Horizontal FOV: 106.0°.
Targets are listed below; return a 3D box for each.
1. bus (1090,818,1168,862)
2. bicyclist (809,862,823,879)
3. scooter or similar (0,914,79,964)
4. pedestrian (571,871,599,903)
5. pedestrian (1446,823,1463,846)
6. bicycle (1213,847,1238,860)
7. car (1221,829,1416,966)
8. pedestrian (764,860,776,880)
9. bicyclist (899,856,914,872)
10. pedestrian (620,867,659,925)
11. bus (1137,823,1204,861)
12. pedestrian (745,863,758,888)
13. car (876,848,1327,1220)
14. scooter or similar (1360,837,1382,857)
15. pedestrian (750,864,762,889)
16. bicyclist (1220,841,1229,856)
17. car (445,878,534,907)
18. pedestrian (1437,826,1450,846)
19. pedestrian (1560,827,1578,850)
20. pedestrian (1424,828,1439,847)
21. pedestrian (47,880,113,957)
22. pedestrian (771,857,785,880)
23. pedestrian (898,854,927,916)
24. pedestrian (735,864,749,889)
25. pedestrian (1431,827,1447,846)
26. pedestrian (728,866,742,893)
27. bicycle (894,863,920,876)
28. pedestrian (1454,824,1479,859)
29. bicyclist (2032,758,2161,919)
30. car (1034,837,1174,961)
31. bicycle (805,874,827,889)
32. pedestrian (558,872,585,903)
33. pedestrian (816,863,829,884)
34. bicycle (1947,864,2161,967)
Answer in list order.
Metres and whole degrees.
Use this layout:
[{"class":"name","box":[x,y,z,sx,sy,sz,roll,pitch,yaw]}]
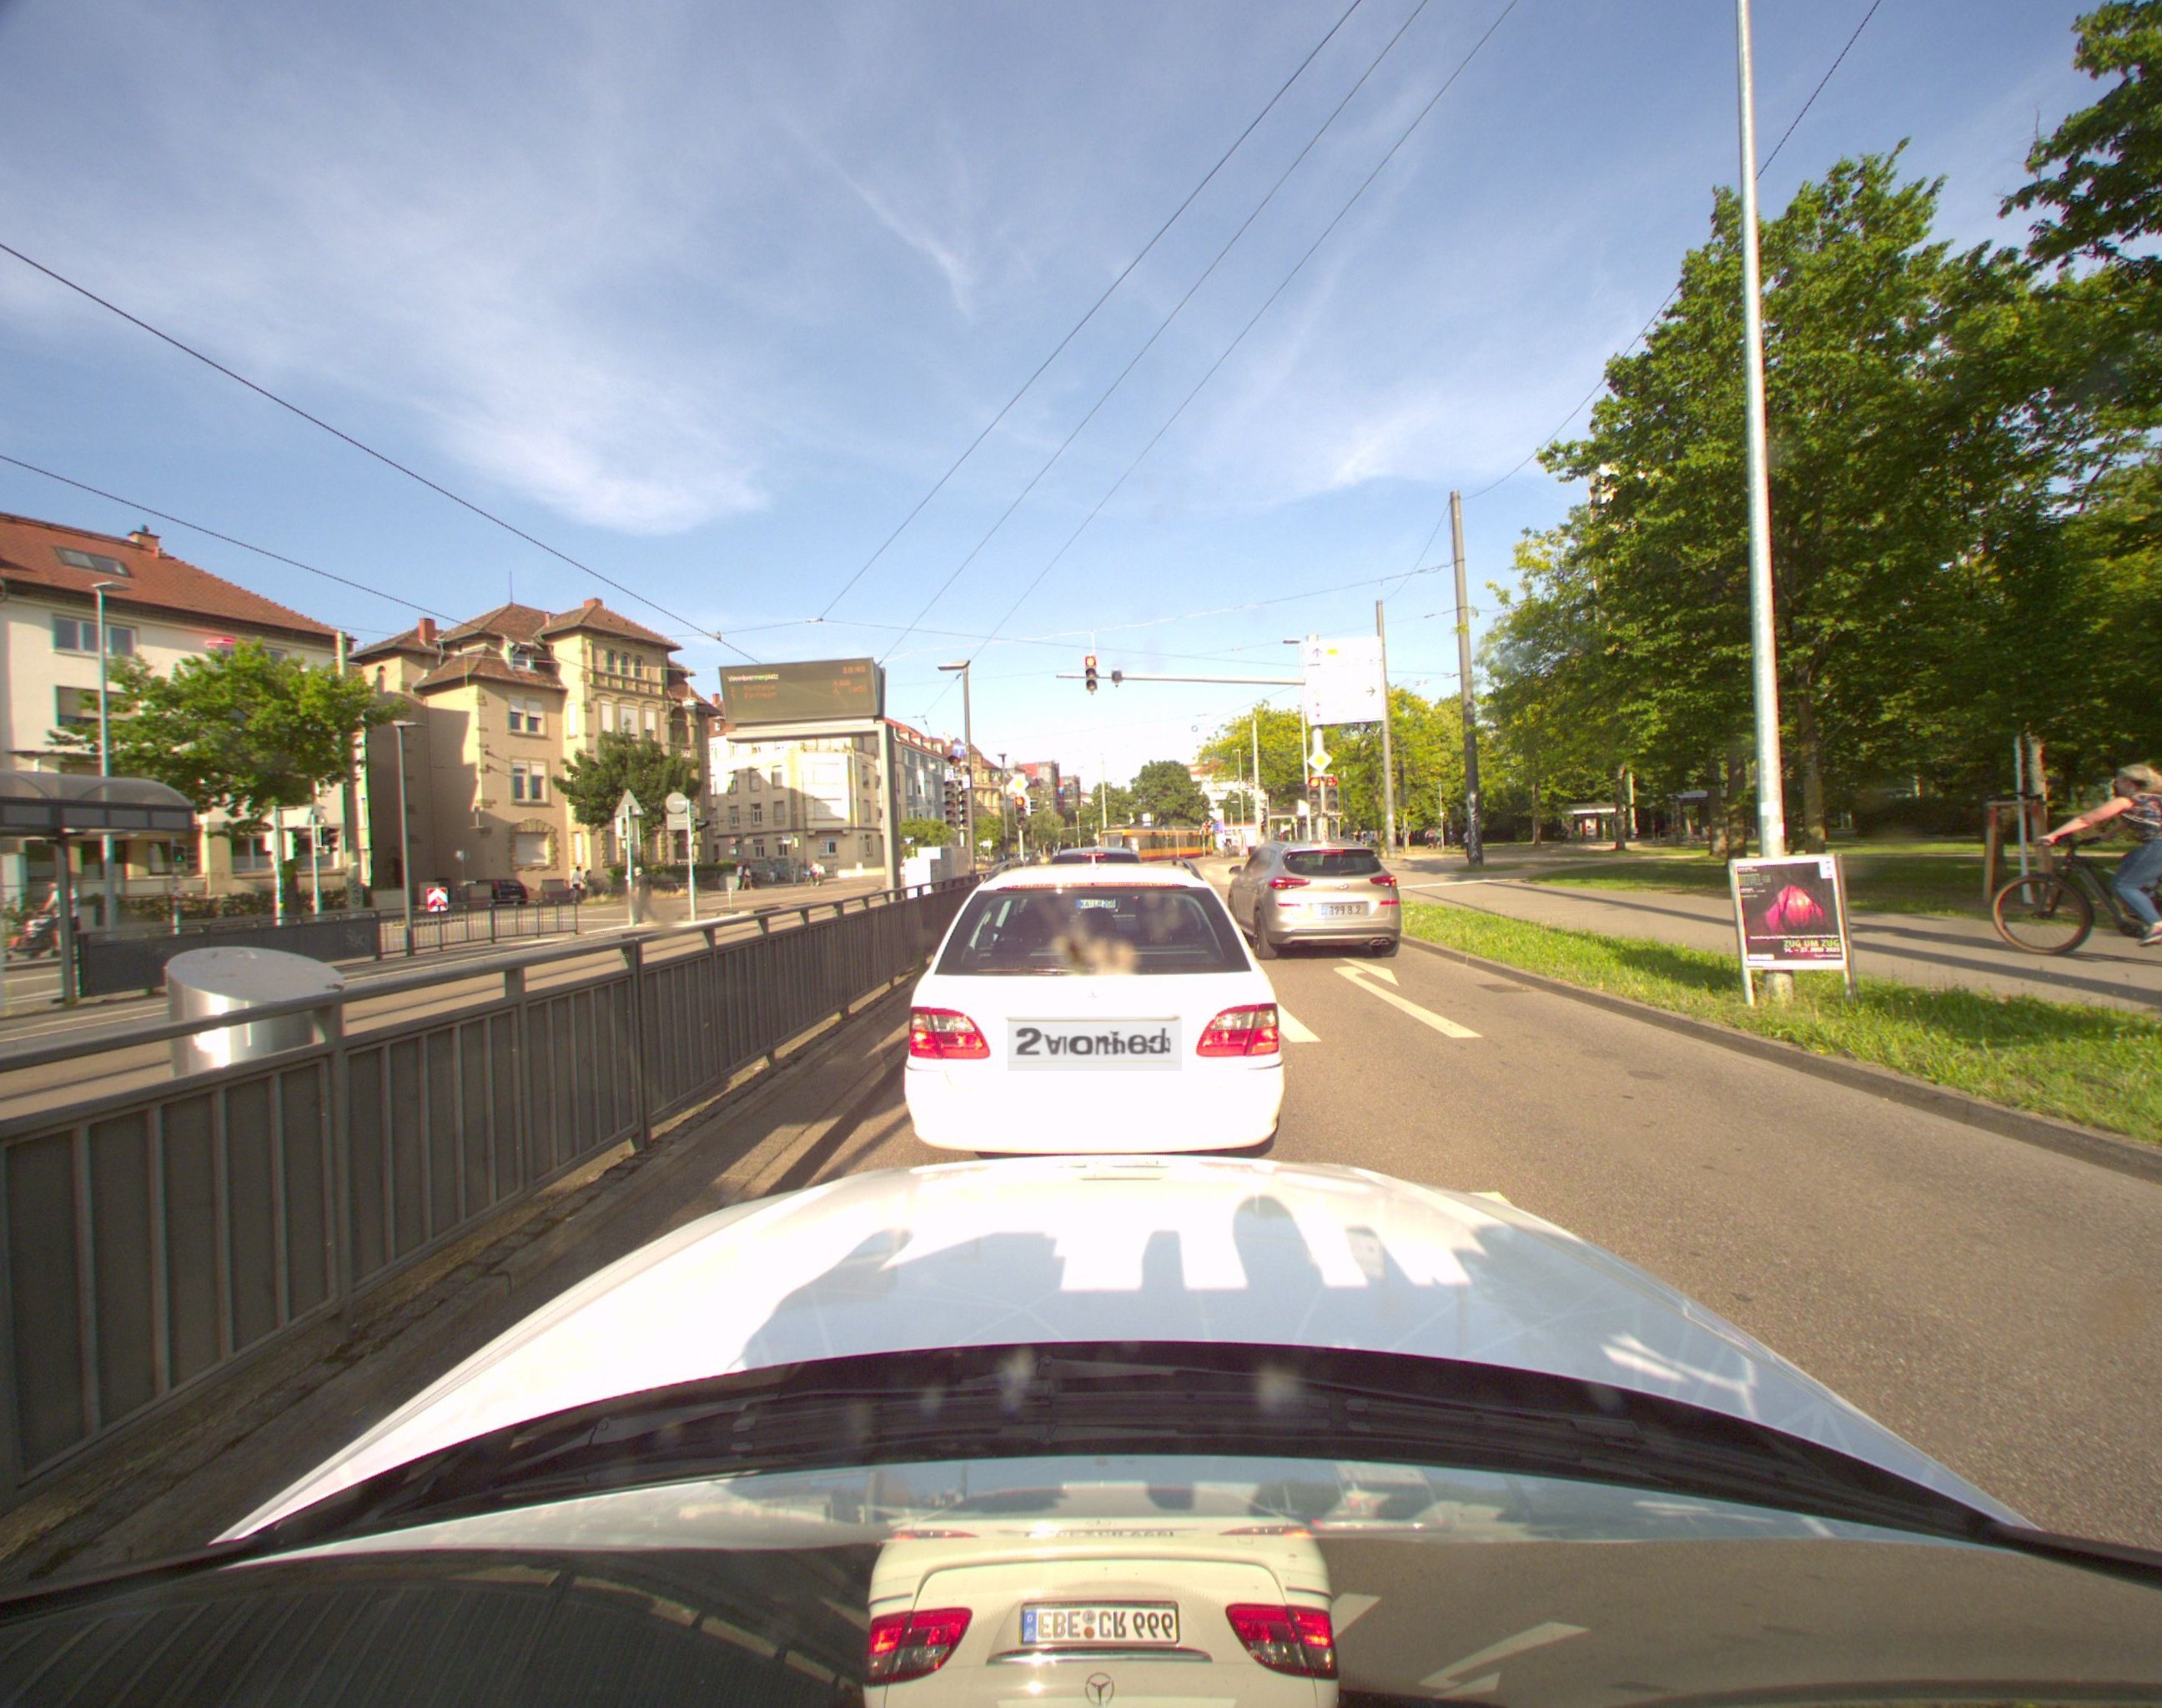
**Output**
[{"class":"bus","box":[4.530,-1.108,72.937,3.081,3.606,12.441,-1,0,22]},{"class":"bicyclist","box":[-16.593,1.036,50.915,0.509,1.044,0.681,-3,0,11]},{"class":"scooter or similar","box":[-23.491,1.893,18.359,0.556,0.988,1.020,-3,0,-7]},{"class":"pedestrian","box":[-24.986,1.639,41.013,0.822,1.552,0.786,-3,0,23]},{"class":"pedestrian","box":[29.114,-1.524,63.495,0.797,1.785,0.838,-3,0,-2]},{"class":"bicycle","box":[14.869,-0.031,83.936,2.467,1.213,0.809,-3,0,9]},{"class":"car","box":[3.331,0.551,12.174,1.878,1.651,3.649,-3,0,2]},{"class":"pedestrian","box":[-27.624,1.413,72.332,0.615,1.660,0.589,-3,0,17]},{"class":"bicyclist","box":[-14.315,0.827,66.818,0.757,1.262,1.179,-3,0,15]},{"class":"pedestrian","box":[-13.273,1.254,24.484,0.798,1.645,0.748,-3,0,-42]},{"class":"bus","box":[9.472,-1.120,84.495,3.081,3.606,12.661,-1,0,24]},{"class":"pedestrian","box":[-20.138,1.332,49.758,0.434,1.500,0.551,-3,0,16]},{"class":"car","box":[0.136,0.723,5.112,1.789,1.470,3.649,-1,0,2]},{"class":"scooter or similar","box":[16.159,-0.383,45.366,0.421,1.117,1.322,-3,0,-18]},{"class":"pedestrian","box":[-20.344,1.395,50.998,0.530,1.500,0.391,-3,0,16]},{"class":"bicyclist","box":[14.814,-0.602,83.948,0.856,1.481,0.791,-3,0,9]},{"class":"car","box":[-29.456,1.896,40.556,4.066,1.310,1.774,-1,-1,24]},{"class":"pedestrian","box":[27.763,-1.349,62.369,0.805,1.487,0.705,-3,0,26]},{"class":"pedestrian","box":[35.828,-1.160,59.797,0.831,1.636,0.804,-3,0,8]},{"class":"pedestrian","box":[27.251,-1.287,63.286,0.820,1.487,0.692,-3,0,-40]},{"class":"pedestrian","box":[-23.629,1.505,19.240,0.547,1.746,0.761,-3,0,-9]},{"class":"pedestrian","box":[-27.213,1.265,73.185,0.768,2.013,0.790,-3,0,17]},{"class":"pedestrian","box":[-4.491,0.825,21.779,0.611,1.599,0.632,-3,0,-5]},{"class":"pedestrian","box":[-20.659,1.347,49.611,0.434,1.500,0.551,-3,0,16]},{"class":"pedestrian","box":[28.099,-1.370,63.874,0.813,1.487,0.698,-3,0,-9]},{"class":"pedestrian","box":[-21.140,1.541,49.755,0.506,1.626,0.609,-3,0,3]},{"class":"bicycle","box":[-14.274,1.293,66.879,0.778,0.914,3.010,-3,0,15]},{"class":"pedestrian","box":[19.057,-0.618,40.241,0.758,1.636,0.800,-3,0,-38]},{"class":"bicyclist","box":[8.734,-0.136,6.798,0.532,1.262,0.869,-3,0,2]},{"class":"car","box":[0.372,0.602,12.772,1.878,1.651,3.649,-1,0,2]},{"class":"bicycle","box":[-16.556,1.709,50.946,0.522,0.834,1.691,-3,0,11]},{"class":"pedestrian","box":[-25.935,1.701,41.477,0.822,1.552,0.786,-3,0,23]},{"class":"pedestrian","box":[-18.982,1.432,59.776,0.626,1.541,0.711,-3,0,1]},{"class":"bicycle","box":[8.777,0.499,6.946,0.493,0.757,2.169,-4,0,2]}]
